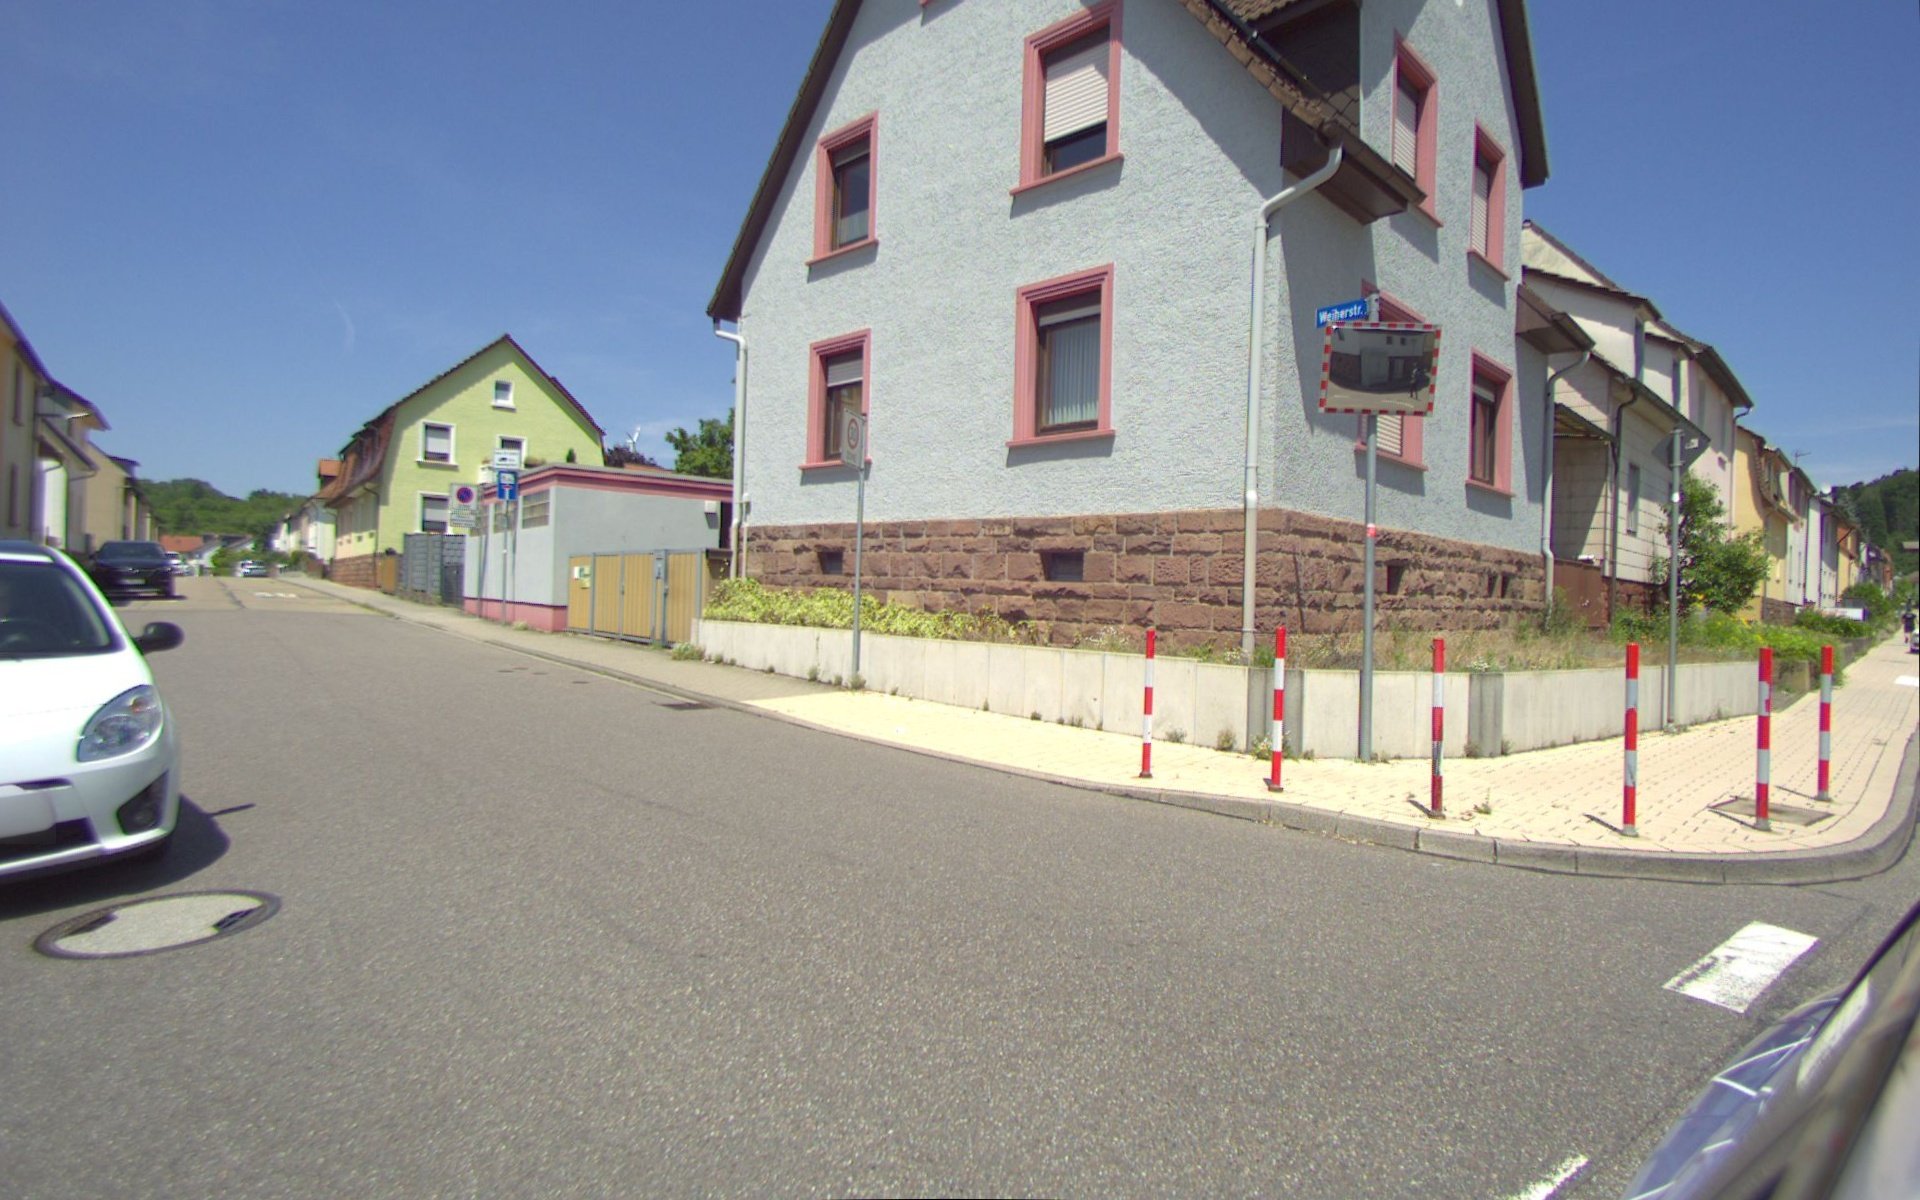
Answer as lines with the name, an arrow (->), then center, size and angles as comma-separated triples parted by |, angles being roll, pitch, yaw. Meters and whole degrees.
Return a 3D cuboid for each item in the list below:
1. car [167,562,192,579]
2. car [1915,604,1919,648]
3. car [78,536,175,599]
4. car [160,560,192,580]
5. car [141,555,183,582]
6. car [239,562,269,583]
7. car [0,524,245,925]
car -> -79.115, -2.966, 102.607 | 1.964, 1.616, 3.998 | 0, 2, -38
car -> 34.845, 0.989, 35.091 | 4.071, 1.537, 1.999 | 1, 4, -41
car -> -23.055, -0.902, 28.112 | 1.964, 1.616, 3.998 | 0, 2, -38
car -> -63.283, -2.431, 81.673 | 1.964, 1.616, 3.998 | 0, 2, -38
car -> -49.587, -1.971, 62.926 | 1.964, 1.616, 3.998 | 0, 2, -38
car -> -58.491, -2.300, 83.793 | 1.805, 1.616, 3.882 | 0, 2, -38
car -> -4.964, 0.393, 4.961 | 3.671, 1.496, 1.748 | 3, 3, 44
